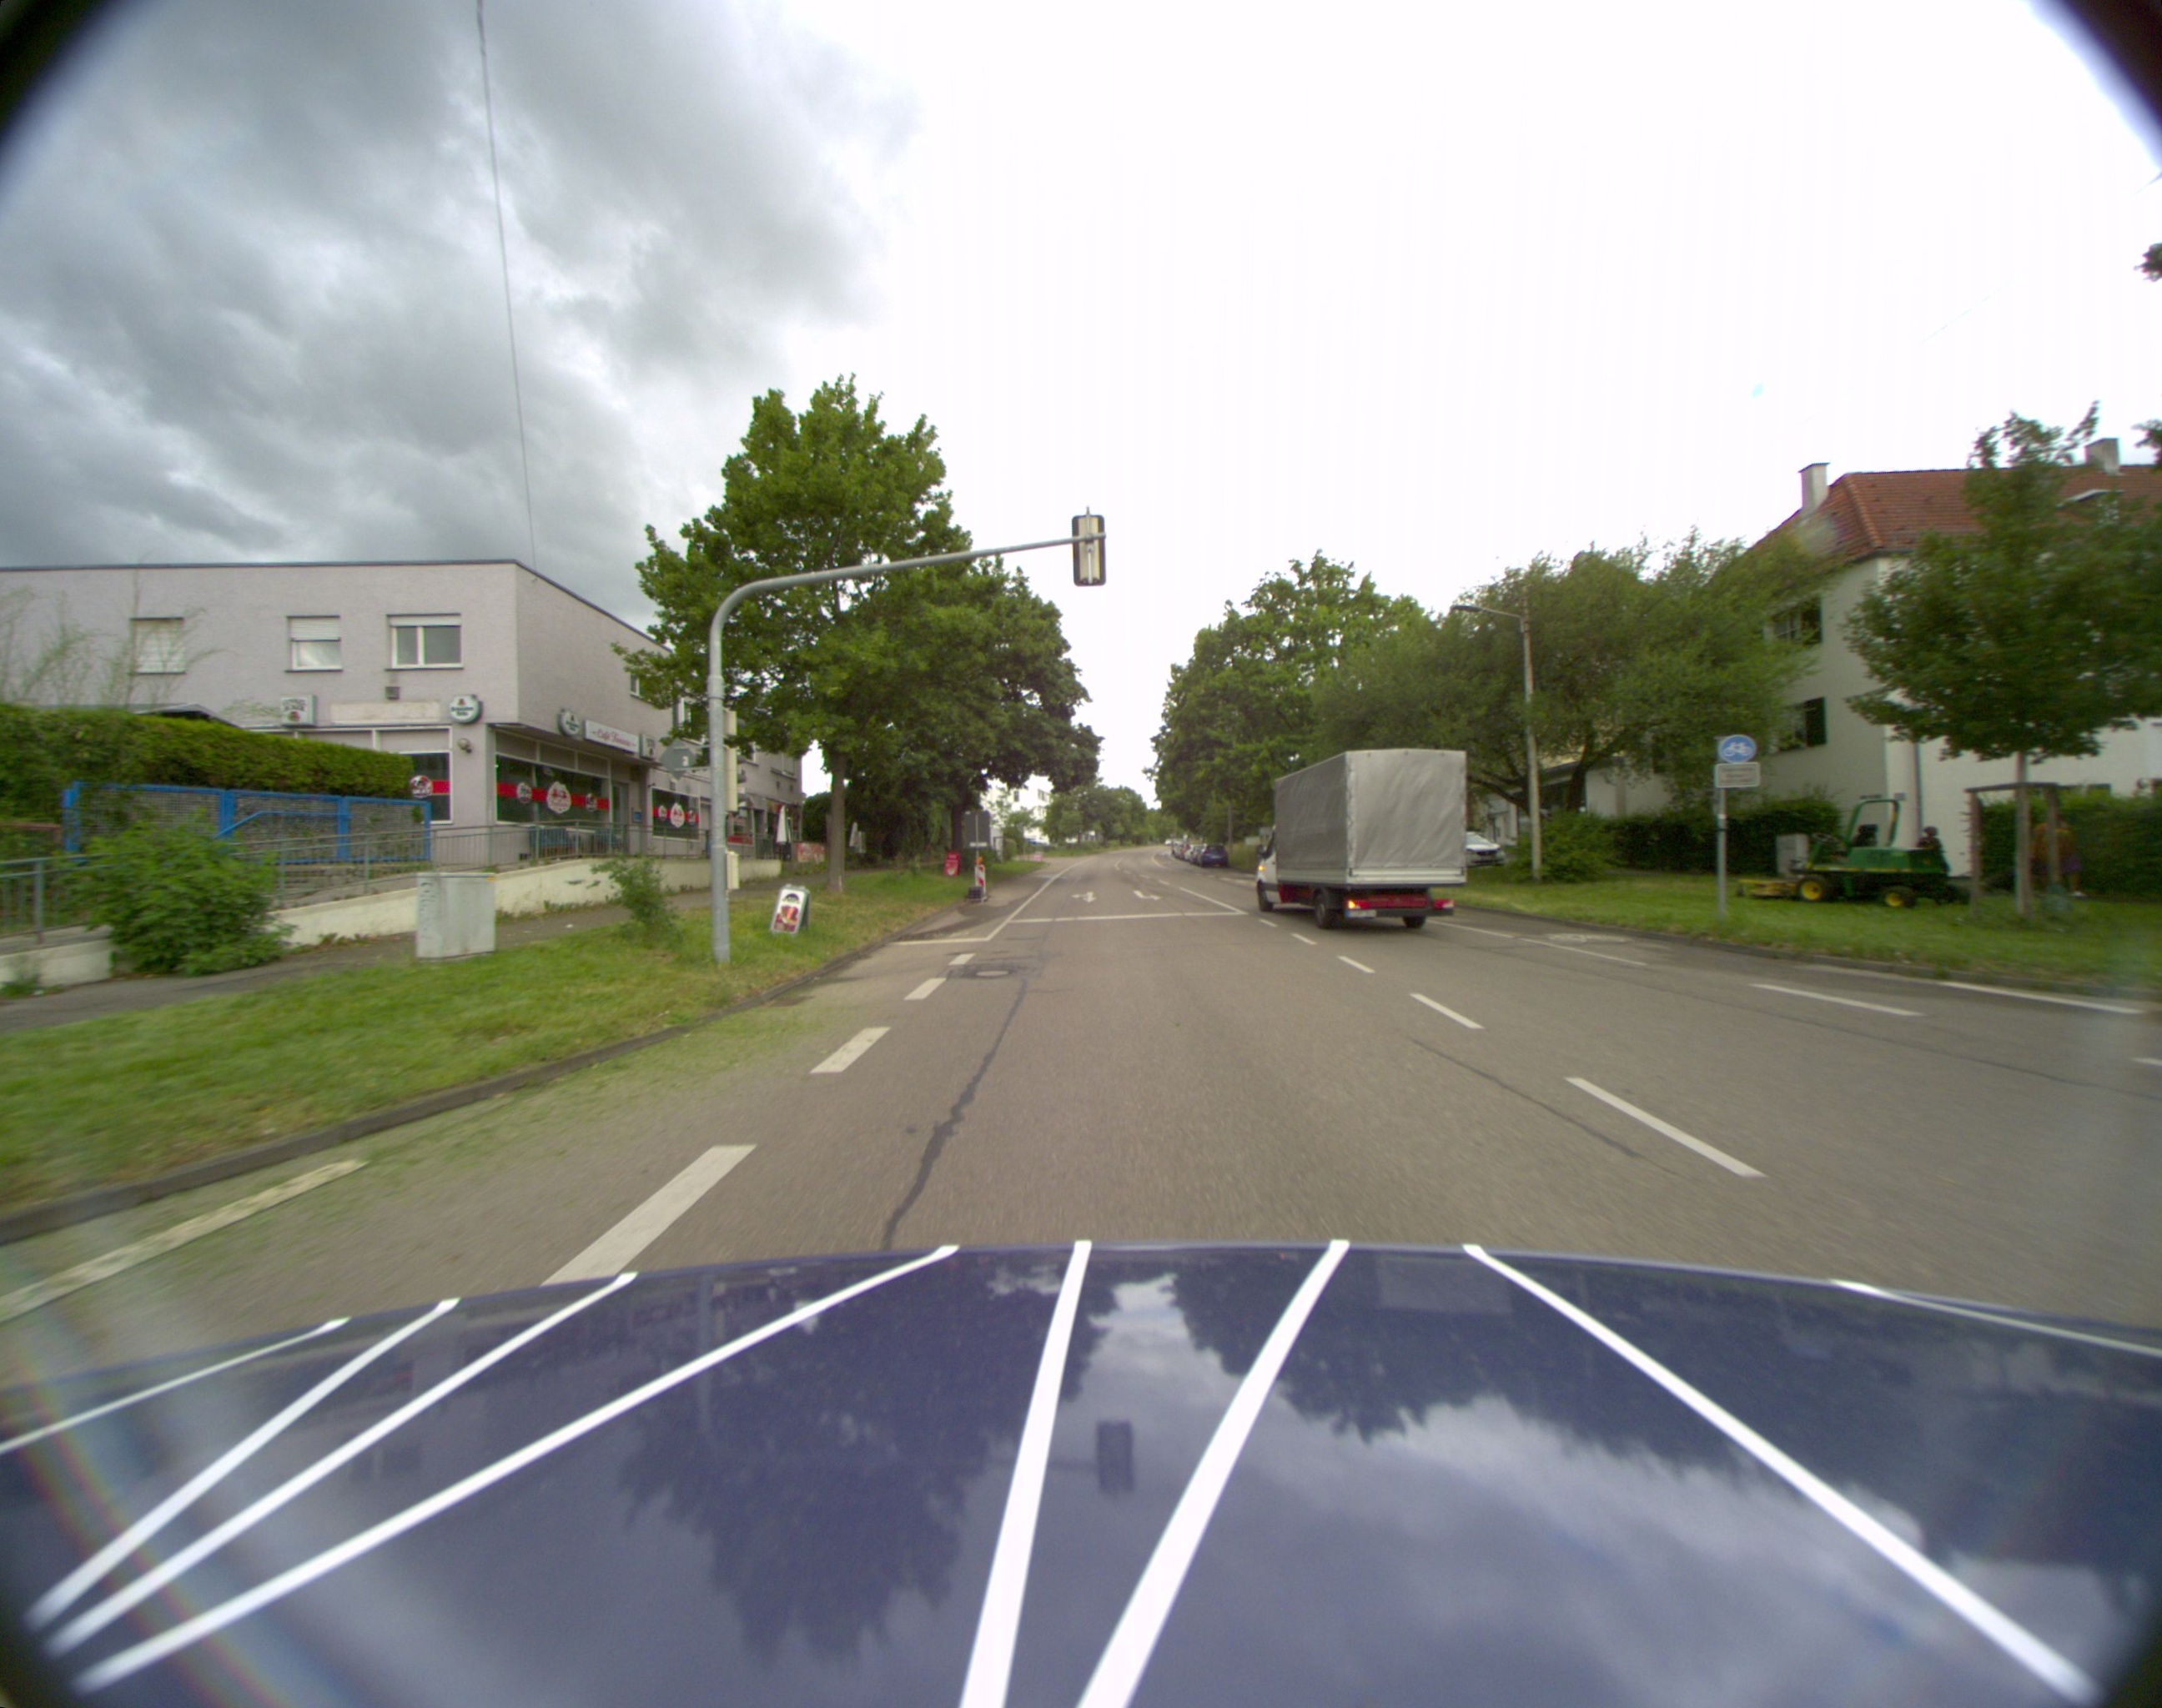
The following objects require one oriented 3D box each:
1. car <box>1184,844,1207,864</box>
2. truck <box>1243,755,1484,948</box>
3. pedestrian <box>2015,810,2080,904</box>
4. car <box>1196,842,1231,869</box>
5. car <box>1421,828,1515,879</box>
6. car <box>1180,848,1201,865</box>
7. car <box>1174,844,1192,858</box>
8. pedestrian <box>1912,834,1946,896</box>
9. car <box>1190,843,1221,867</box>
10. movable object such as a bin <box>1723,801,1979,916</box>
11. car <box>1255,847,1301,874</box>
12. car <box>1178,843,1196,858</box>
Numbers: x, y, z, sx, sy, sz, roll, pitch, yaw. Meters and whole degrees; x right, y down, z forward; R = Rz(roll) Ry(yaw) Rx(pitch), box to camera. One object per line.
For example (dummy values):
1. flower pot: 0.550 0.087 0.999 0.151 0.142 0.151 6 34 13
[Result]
1. car: 9.717 -0.011 64.663 1.716 1.543 3.679 -2 1 5
2. truck: 5.574 -0.085 16.518 2.372 3.219 7.214 -2 1 -1
3. pedestrian: 18.753 0.055 14.744 0.778 1.747 0.688 -3 2 -32
4. car: 9.143 0.083 52.805 1.998 1.674 4.001 -2 1 5
5. car: 15.629 -0.050 30.954 1.755 1.879 3.999 -3 1 0
6. car: 10.054 0.208 69.865 1.621 1.389 3.679 -2 1 5
7. car: 10.821 -0.350 80.632 1.621 1.389 3.679 -2 1 5
8. pedestrian: 17.553 0.230 15.735 0.358 1.264 0.360 -1 1 23
9. car: 9.474 0.078 58.154 1.998 1.674 4.001 -2 1 5
10. movable object such as a bin: 14.294 0.062 14.333 1.099 1.892 3.246 -3 1 -15
11. car: 11.007 0.314 42.706 1.604 1.346 3.999 -3 1 1
12. car: 10.487 -0.340 75.346 1.621 1.389 3.679 -2 1 5
